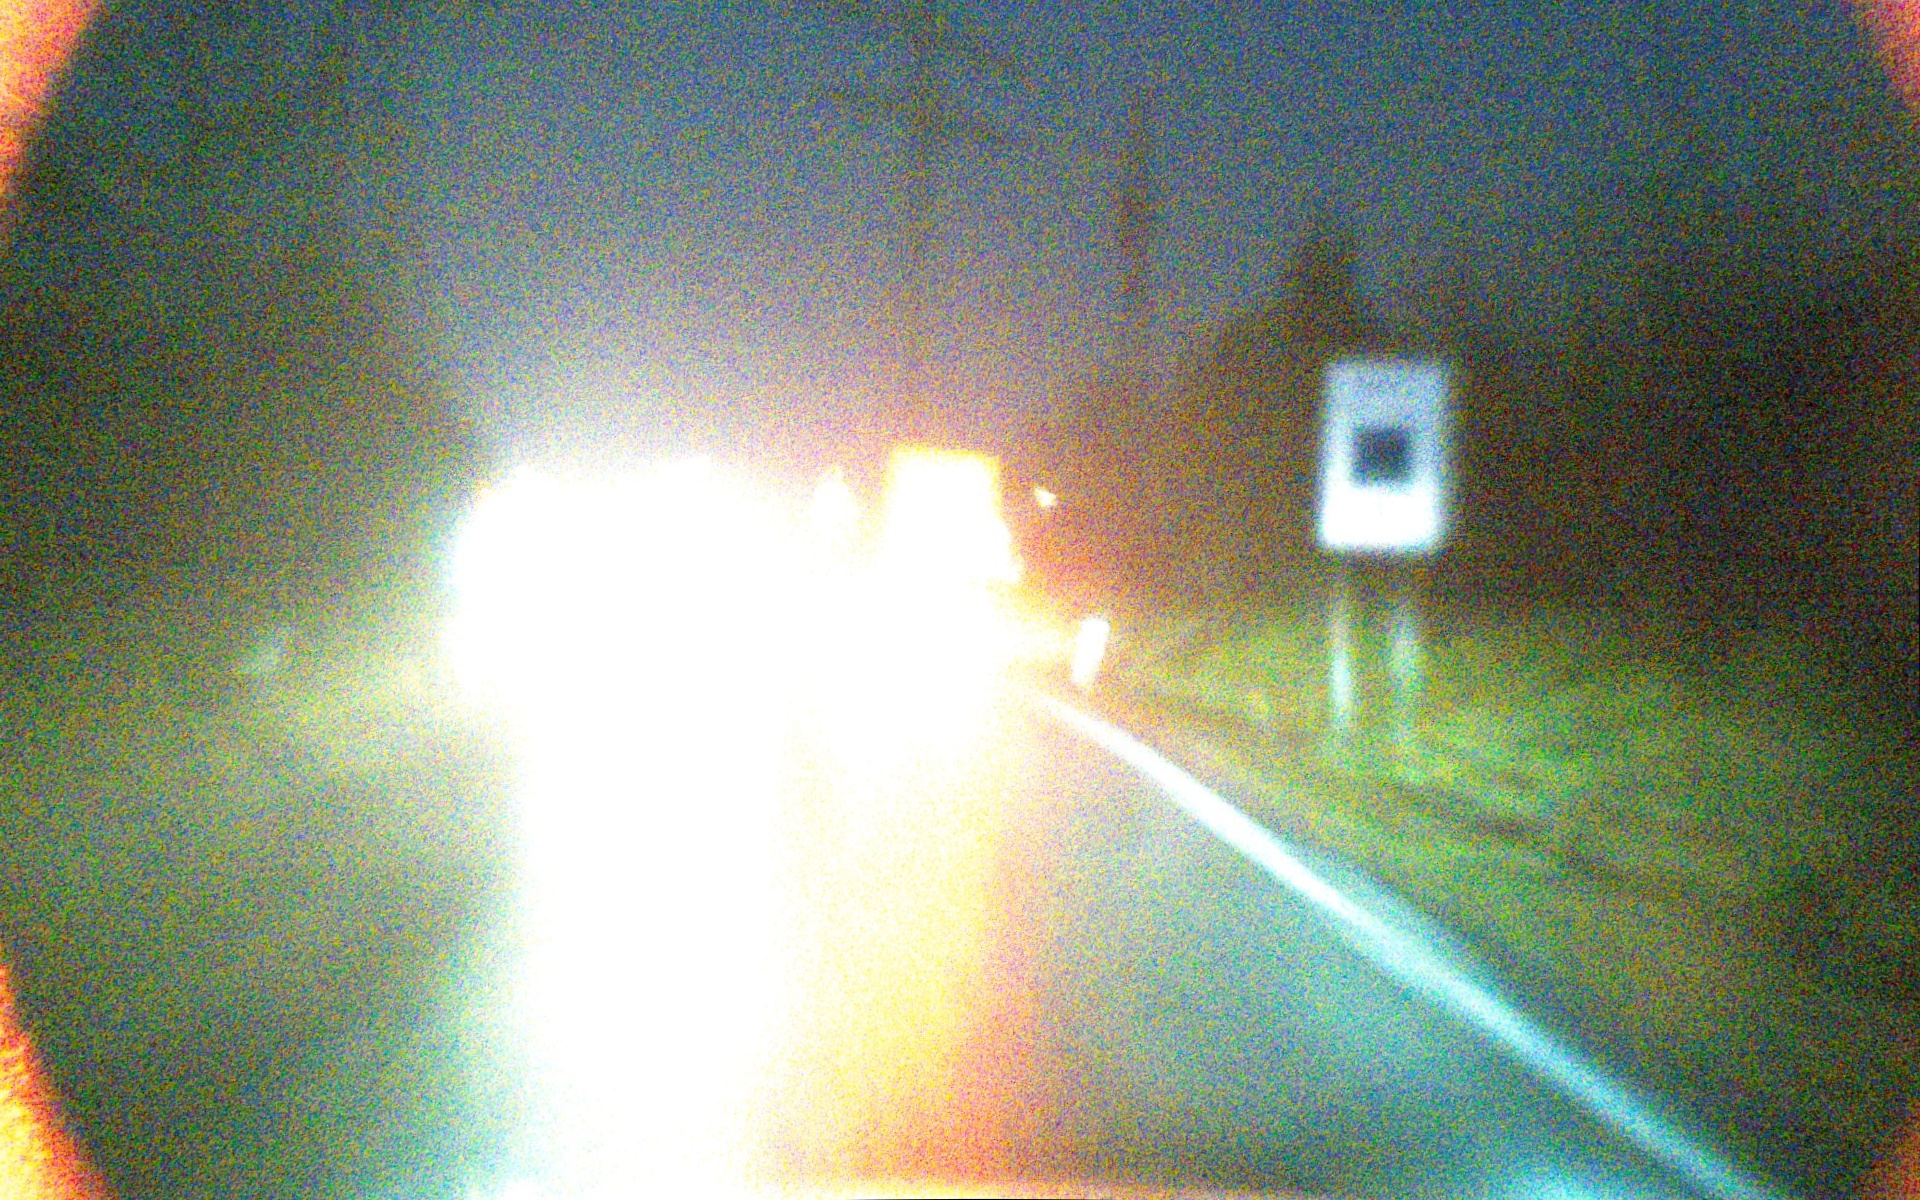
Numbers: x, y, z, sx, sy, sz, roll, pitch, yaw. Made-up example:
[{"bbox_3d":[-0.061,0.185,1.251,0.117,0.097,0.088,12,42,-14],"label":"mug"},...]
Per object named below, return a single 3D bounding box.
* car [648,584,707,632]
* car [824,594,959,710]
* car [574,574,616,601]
[{"bbox_3d":[-9.521,0.246,55.560,1.740,1.509,4.367,1,0,-13],"label":"car"},{"bbox_3d":[-1.160,0.753,26.663,1.954,1.656,4.981,1,0,-4],"label":"car"},{"bbox_3d":[-20.472,-0.701,92.674,1.745,1.413,4.208,1,0,-20],"label":"car"}]
